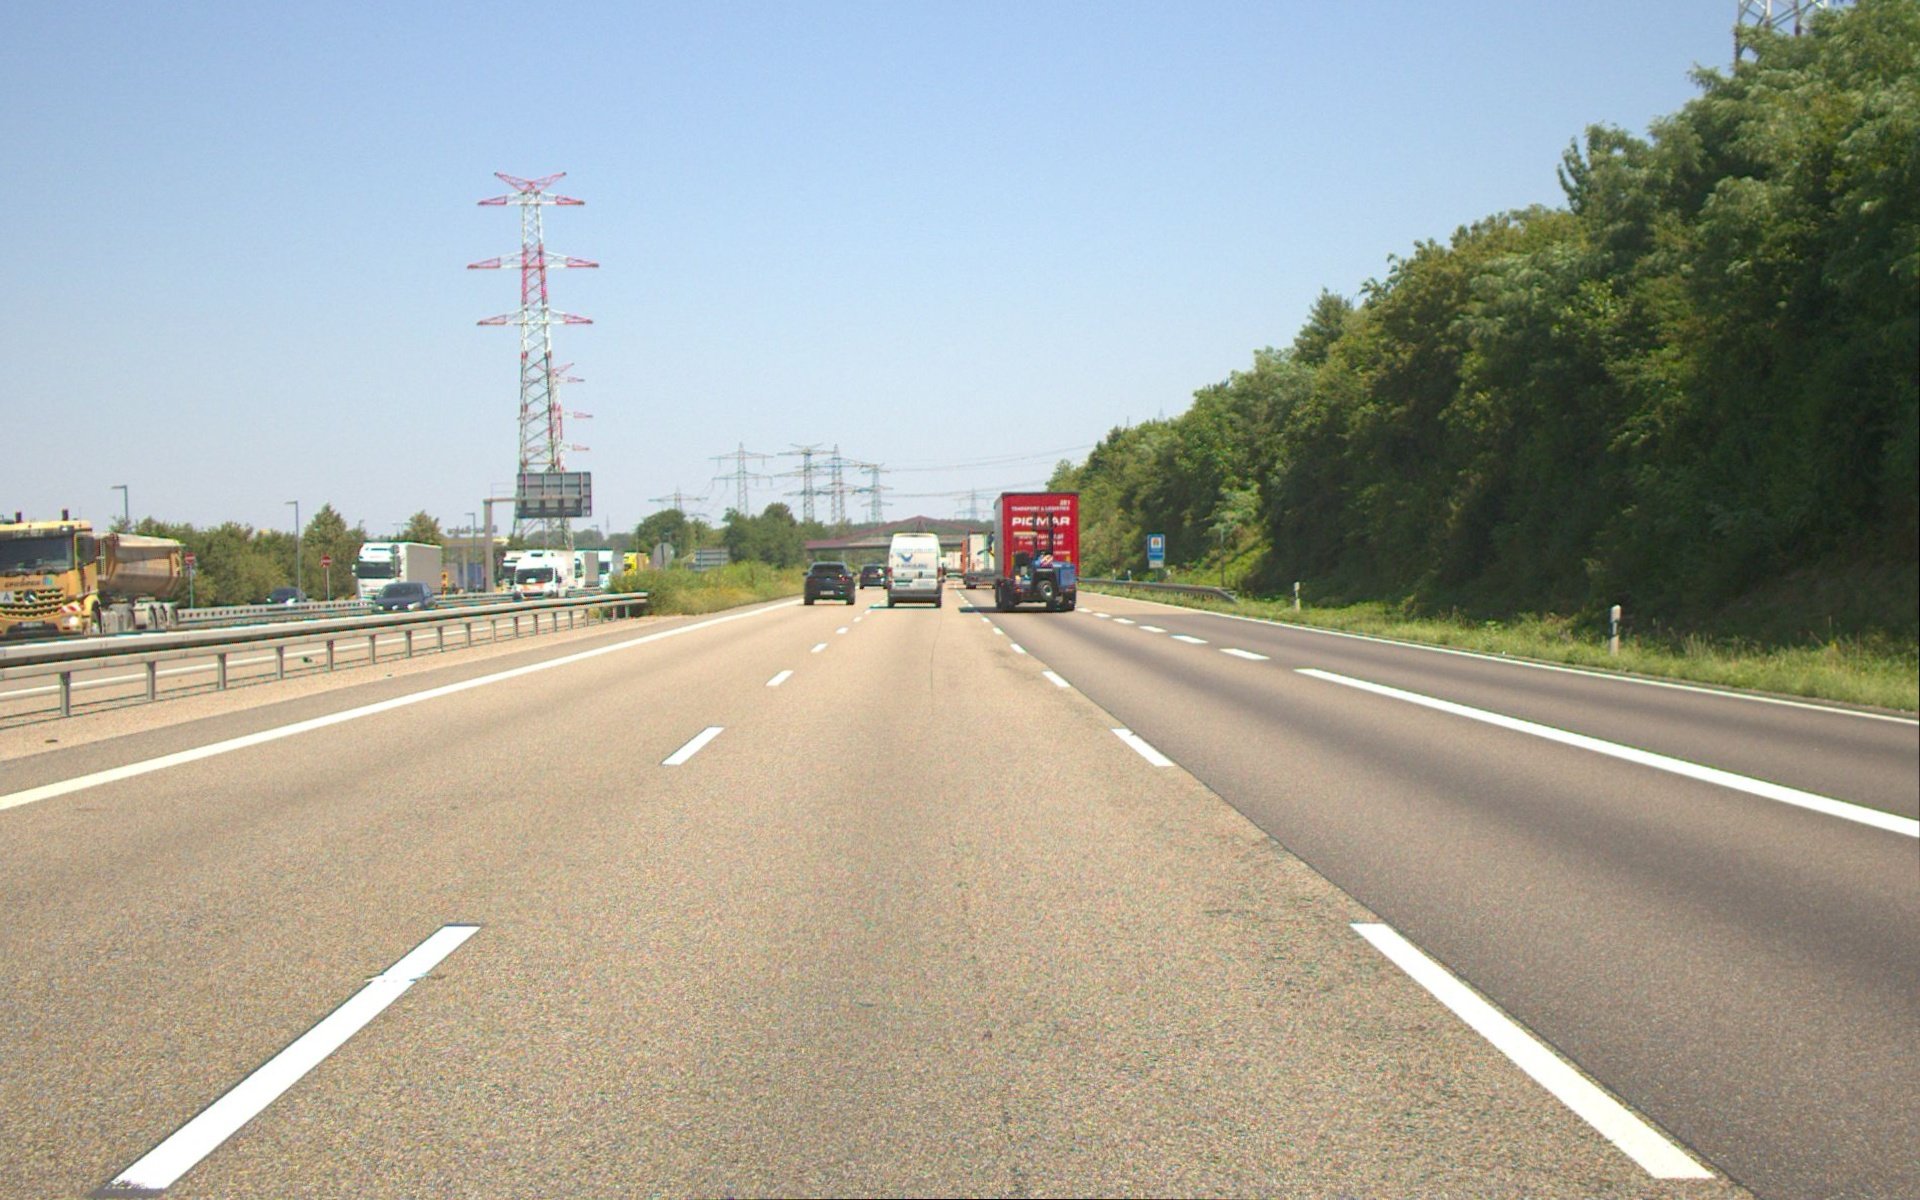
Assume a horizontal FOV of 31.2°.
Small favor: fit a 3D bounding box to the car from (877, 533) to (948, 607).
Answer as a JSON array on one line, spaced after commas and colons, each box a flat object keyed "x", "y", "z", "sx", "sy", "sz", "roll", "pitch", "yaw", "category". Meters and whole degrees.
[{"x": -1.818, "y": -1.153, "z": 130.090, "sx": 2.621, "sy": 2.749, "sz": 6.097, "roll": 0, "pitch": 1, "yaw": -1, "category": "car"}]

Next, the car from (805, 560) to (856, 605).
[{"x": -5.160, "y": -0.712, "z": 137.422, "sx": 1.993, "sy": 1.744, "sz": 4.000, "roll": 0, "pitch": 1, "yaw": -1, "category": "car"}]

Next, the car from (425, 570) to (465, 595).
[{"x": -30.421, "y": -1.026, "z": 203.091, "sx": 1.815, "sy": 1.386, "sz": 3.904, "roll": -1, "pitch": 1, "yaw": -1, "category": "car"}]

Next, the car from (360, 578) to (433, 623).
[{"x": -18.458, "y": 0.008, "z": 112.671, "sx": 1.815, "sy": 1.386, "sz": 3.904, "roll": -1, "pitch": 1, "yaw": -1, "category": "car"}]

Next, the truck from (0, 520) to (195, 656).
[{"x": -22.580, "y": -0.331, "z": 89.262, "sx": 2.717, "sy": 3.248, "sz": 12.388, "roll": -1, "pitch": 0, "yaw": 0, "category": "truck"}]

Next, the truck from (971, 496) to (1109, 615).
[{"x": 2.665, "y": -1.594, "z": 121.627, "sx": 4.331, "sy": 3.928, "sz": 16.078, "roll": 0, "pitch": 1, "yaw": -1, "category": "truck"}]

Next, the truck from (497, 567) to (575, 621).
[{"x": -19.889, "y": -0.323, "z": 161.602, "sx": 2.717, "sy": 2.413, "sz": 8.107, "roll": -1, "pitch": 0, "yaw": 0, "category": "truck"}]

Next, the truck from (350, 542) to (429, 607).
[{"x": -34.174, "y": -1.527, "z": 206.458, "sx": 2.717, "sy": 3.705, "sz": 12.388, "roll": -1, "pitch": 0, "yaw": 0, "category": "truck"}]

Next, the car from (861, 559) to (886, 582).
[{"x": -6.135, "y": -2.120, "z": 244.052, "sx": 1.747, "sy": 1.628, "sz": 4.004, "roll": 0, "pitch": 1, "yaw": -1, "category": "car"}]

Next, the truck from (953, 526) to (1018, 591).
[{"x": 1.774, "y": -2.981, "z": 246.298, "sx": 4.331, "sy": 4.508, "sz": 16.078, "roll": 0, "pitch": 1, "yaw": -1, "category": "truck"}]
